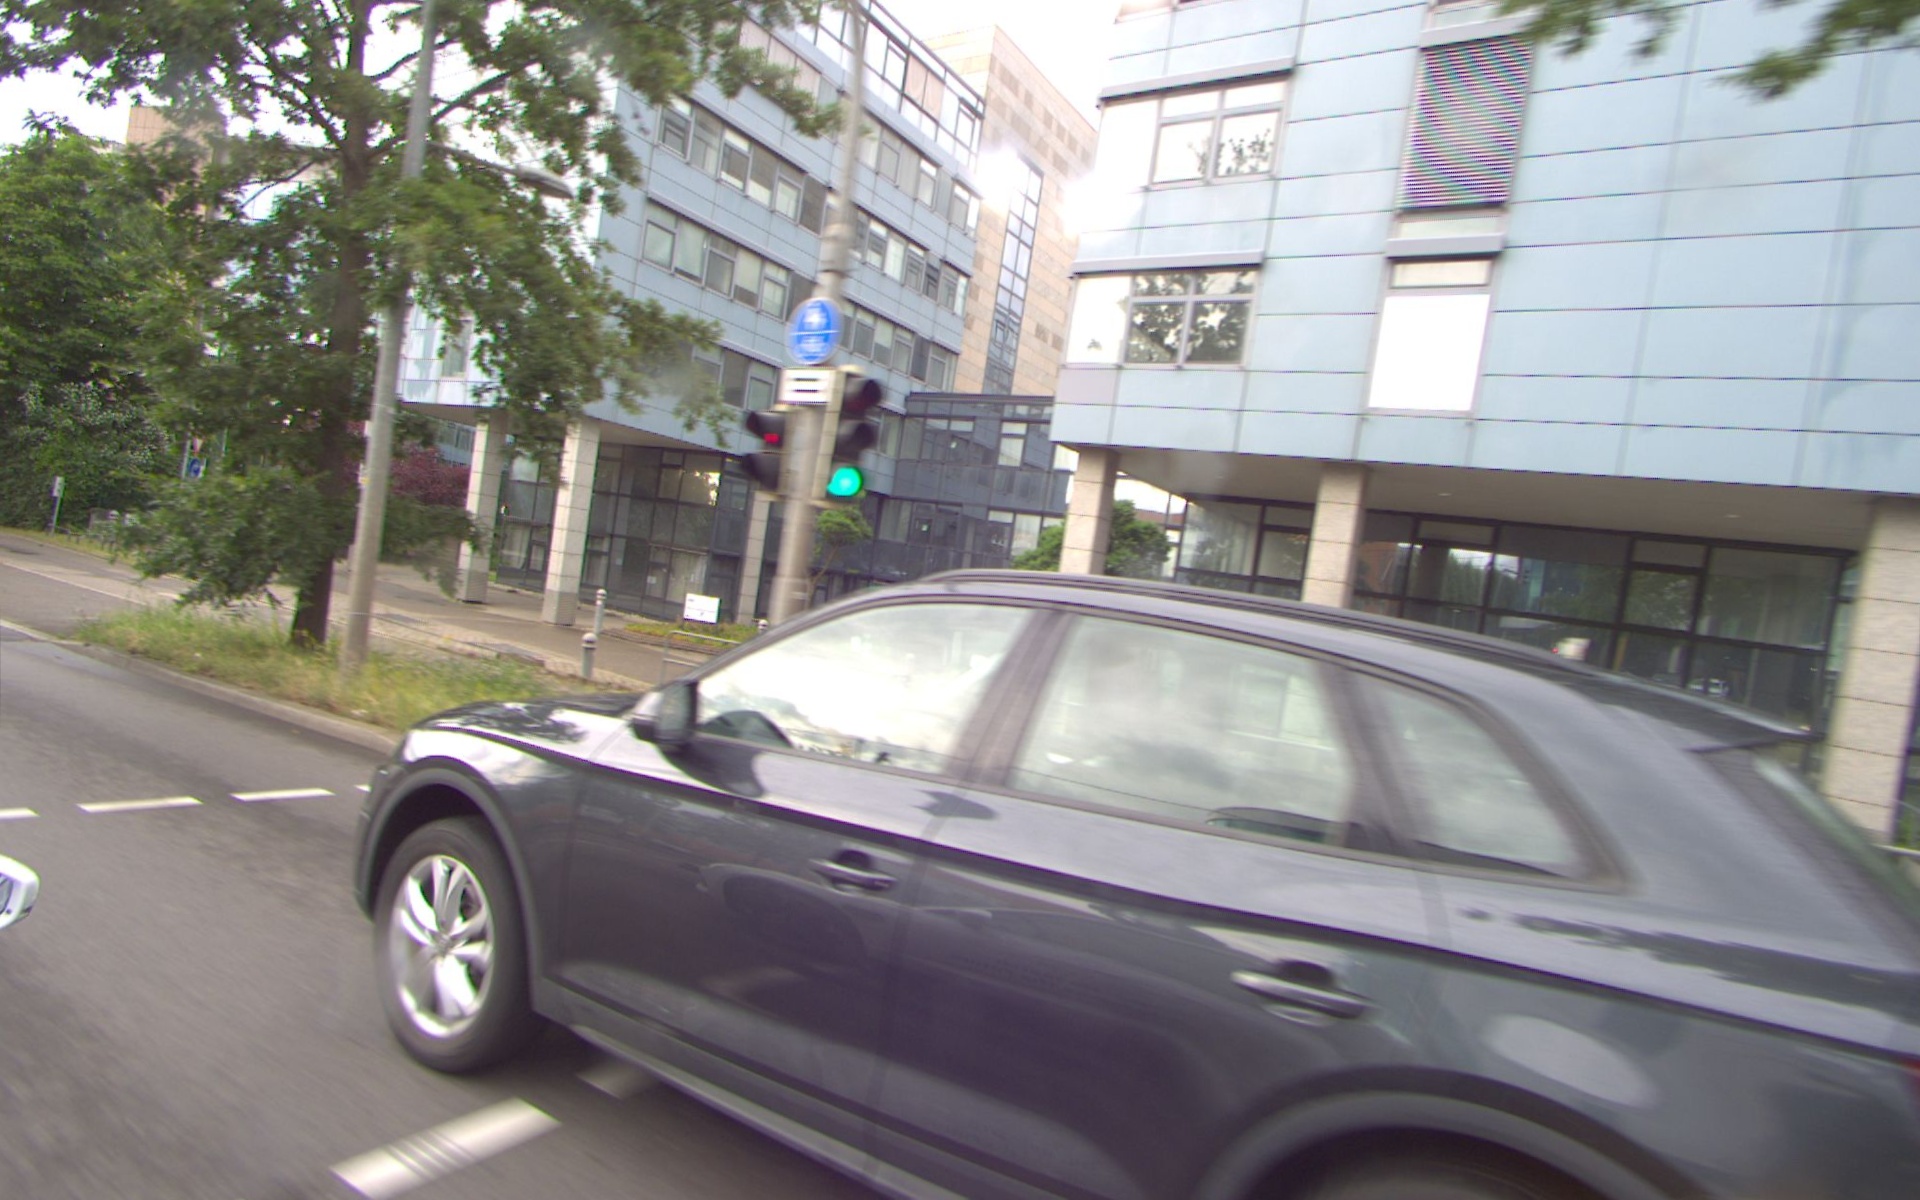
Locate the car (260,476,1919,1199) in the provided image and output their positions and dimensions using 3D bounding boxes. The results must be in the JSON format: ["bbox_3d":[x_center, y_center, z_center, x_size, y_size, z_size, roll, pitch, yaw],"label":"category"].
[{"bbox_3d":[0.026,0.722,3.023,4.298,1.690,1.814,7,-1,32],"label":"car"}]
